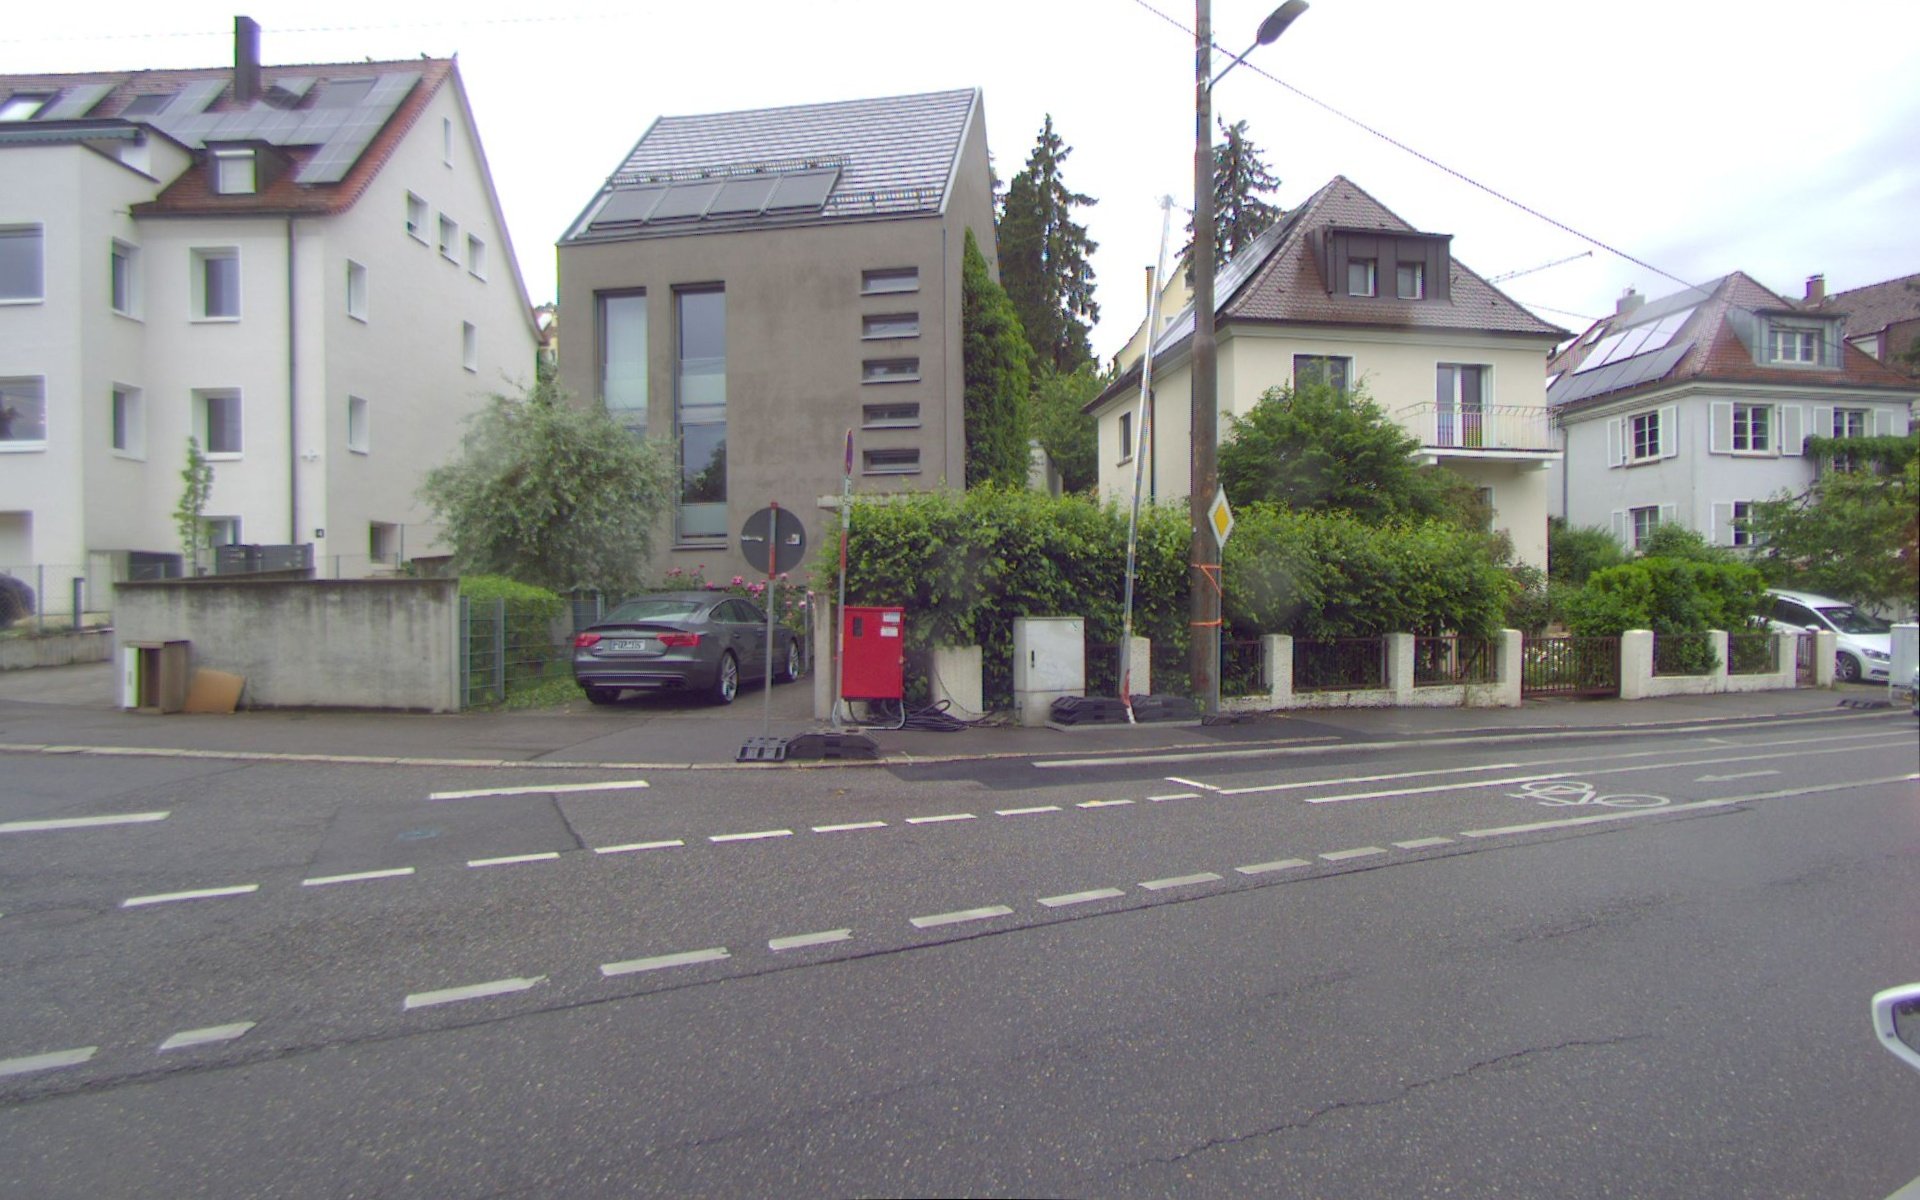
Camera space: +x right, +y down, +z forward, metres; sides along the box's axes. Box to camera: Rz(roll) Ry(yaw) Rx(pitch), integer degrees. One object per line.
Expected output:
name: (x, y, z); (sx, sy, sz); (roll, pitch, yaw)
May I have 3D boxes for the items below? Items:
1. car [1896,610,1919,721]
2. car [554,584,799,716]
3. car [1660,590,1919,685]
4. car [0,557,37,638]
car: (15.714, 0.967, 14.429); (4.758, 1.547, 1.846); (2, -2, -27)
car: (-3.606, 0.555, 13.580); (1.740, 1.506, 4.002); (0, 1, 7)
car: (19.598, 0.806, 23.917); (1.870, 2.033, 4.628); (1, 0, -18)
car: (-16.729, 0.042, 15.173); (1.576, 1.298, 4.008); (2, 4, 6)
